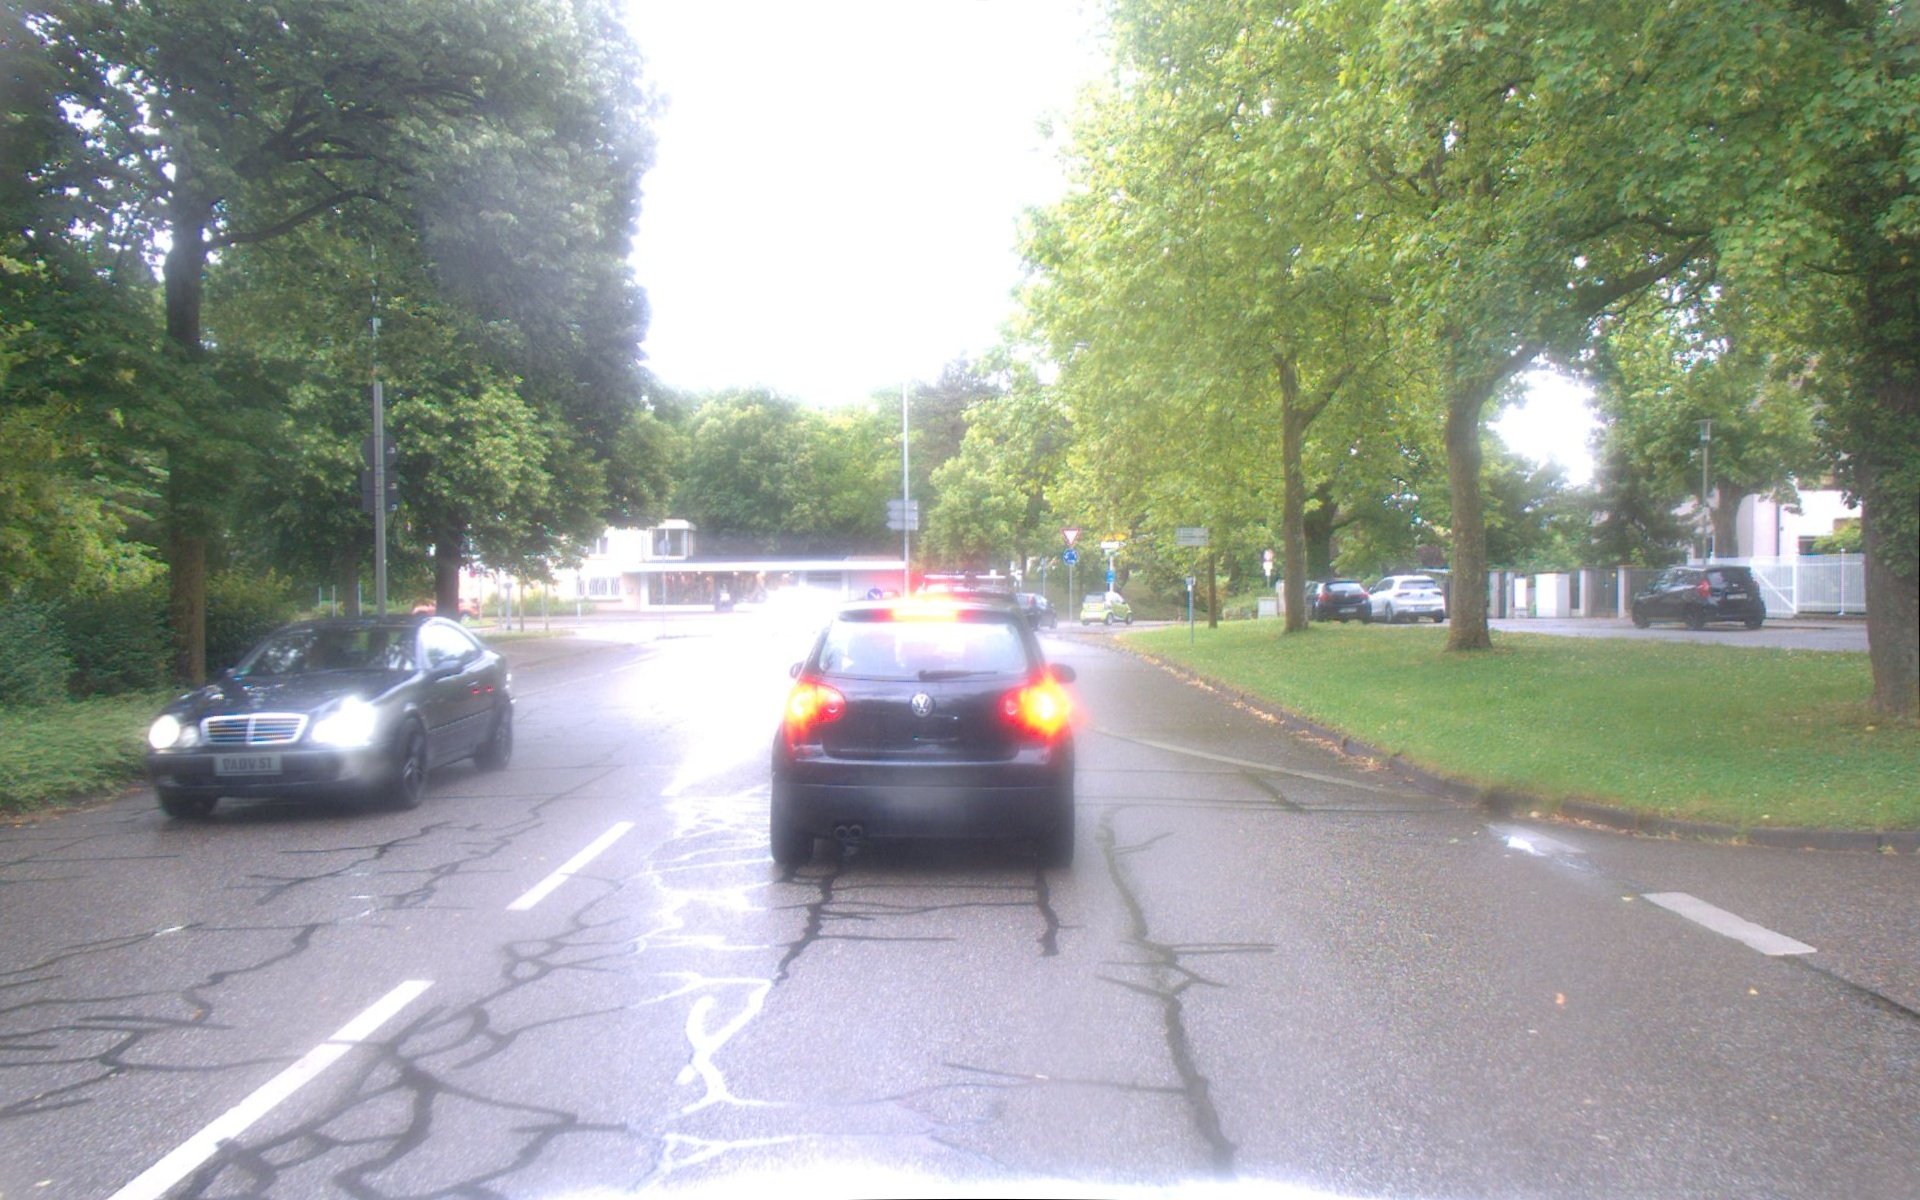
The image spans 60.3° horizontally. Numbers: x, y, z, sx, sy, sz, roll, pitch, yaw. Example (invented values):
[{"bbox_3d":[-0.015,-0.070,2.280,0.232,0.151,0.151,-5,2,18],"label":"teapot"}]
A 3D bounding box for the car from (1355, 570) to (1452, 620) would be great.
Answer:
[{"bbox_3d":[14.292,-0.151,53.578,1.808,1.497,4.424,-2,0,-2],"label":"car"}]

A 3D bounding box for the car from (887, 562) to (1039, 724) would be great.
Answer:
[{"bbox_3d":[0.000,0.507,21.402,1.729,1.833,4.245,-1,0,-1],"label":"car"}]

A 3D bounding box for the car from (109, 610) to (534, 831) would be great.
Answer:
[{"bbox_3d":[-4.734,0.798,13.007,1.729,1.372,4.375,-2,0,-2],"label":"car"}]

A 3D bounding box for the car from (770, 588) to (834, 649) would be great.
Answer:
[{"bbox_3d":[-5.615,0.642,58.414,1.957,2.049,4.564,1,0,-9],"label":"car"}]

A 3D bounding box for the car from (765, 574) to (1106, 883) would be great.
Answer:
[{"bbox_3d":[-0.154,0.670,10.505,1.729,1.565,3.999,1,0,-1],"label":"car"}]

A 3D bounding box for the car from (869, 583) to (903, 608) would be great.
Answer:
[{"bbox_3d":[-4.576,-0.282,101.665,1.778,1.512,3.826,-2,0,-6],"label":"car"}]

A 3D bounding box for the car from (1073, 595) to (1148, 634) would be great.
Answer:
[{"bbox_3d":[7.152,0.691,78.344,1.783,1.780,3.987,1,0,34],"label":"car"}]

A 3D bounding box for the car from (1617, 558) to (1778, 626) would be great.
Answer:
[{"bbox_3d":[17.919,-0.177,40.419,1.725,1.497,4.353,-2,0,-4],"label":"car"}]

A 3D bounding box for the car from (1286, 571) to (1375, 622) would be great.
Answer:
[{"bbox_3d":[11.885,-0.113,53.299,1.728,1.496,4.597,-2,0,-1],"label":"car"}]
